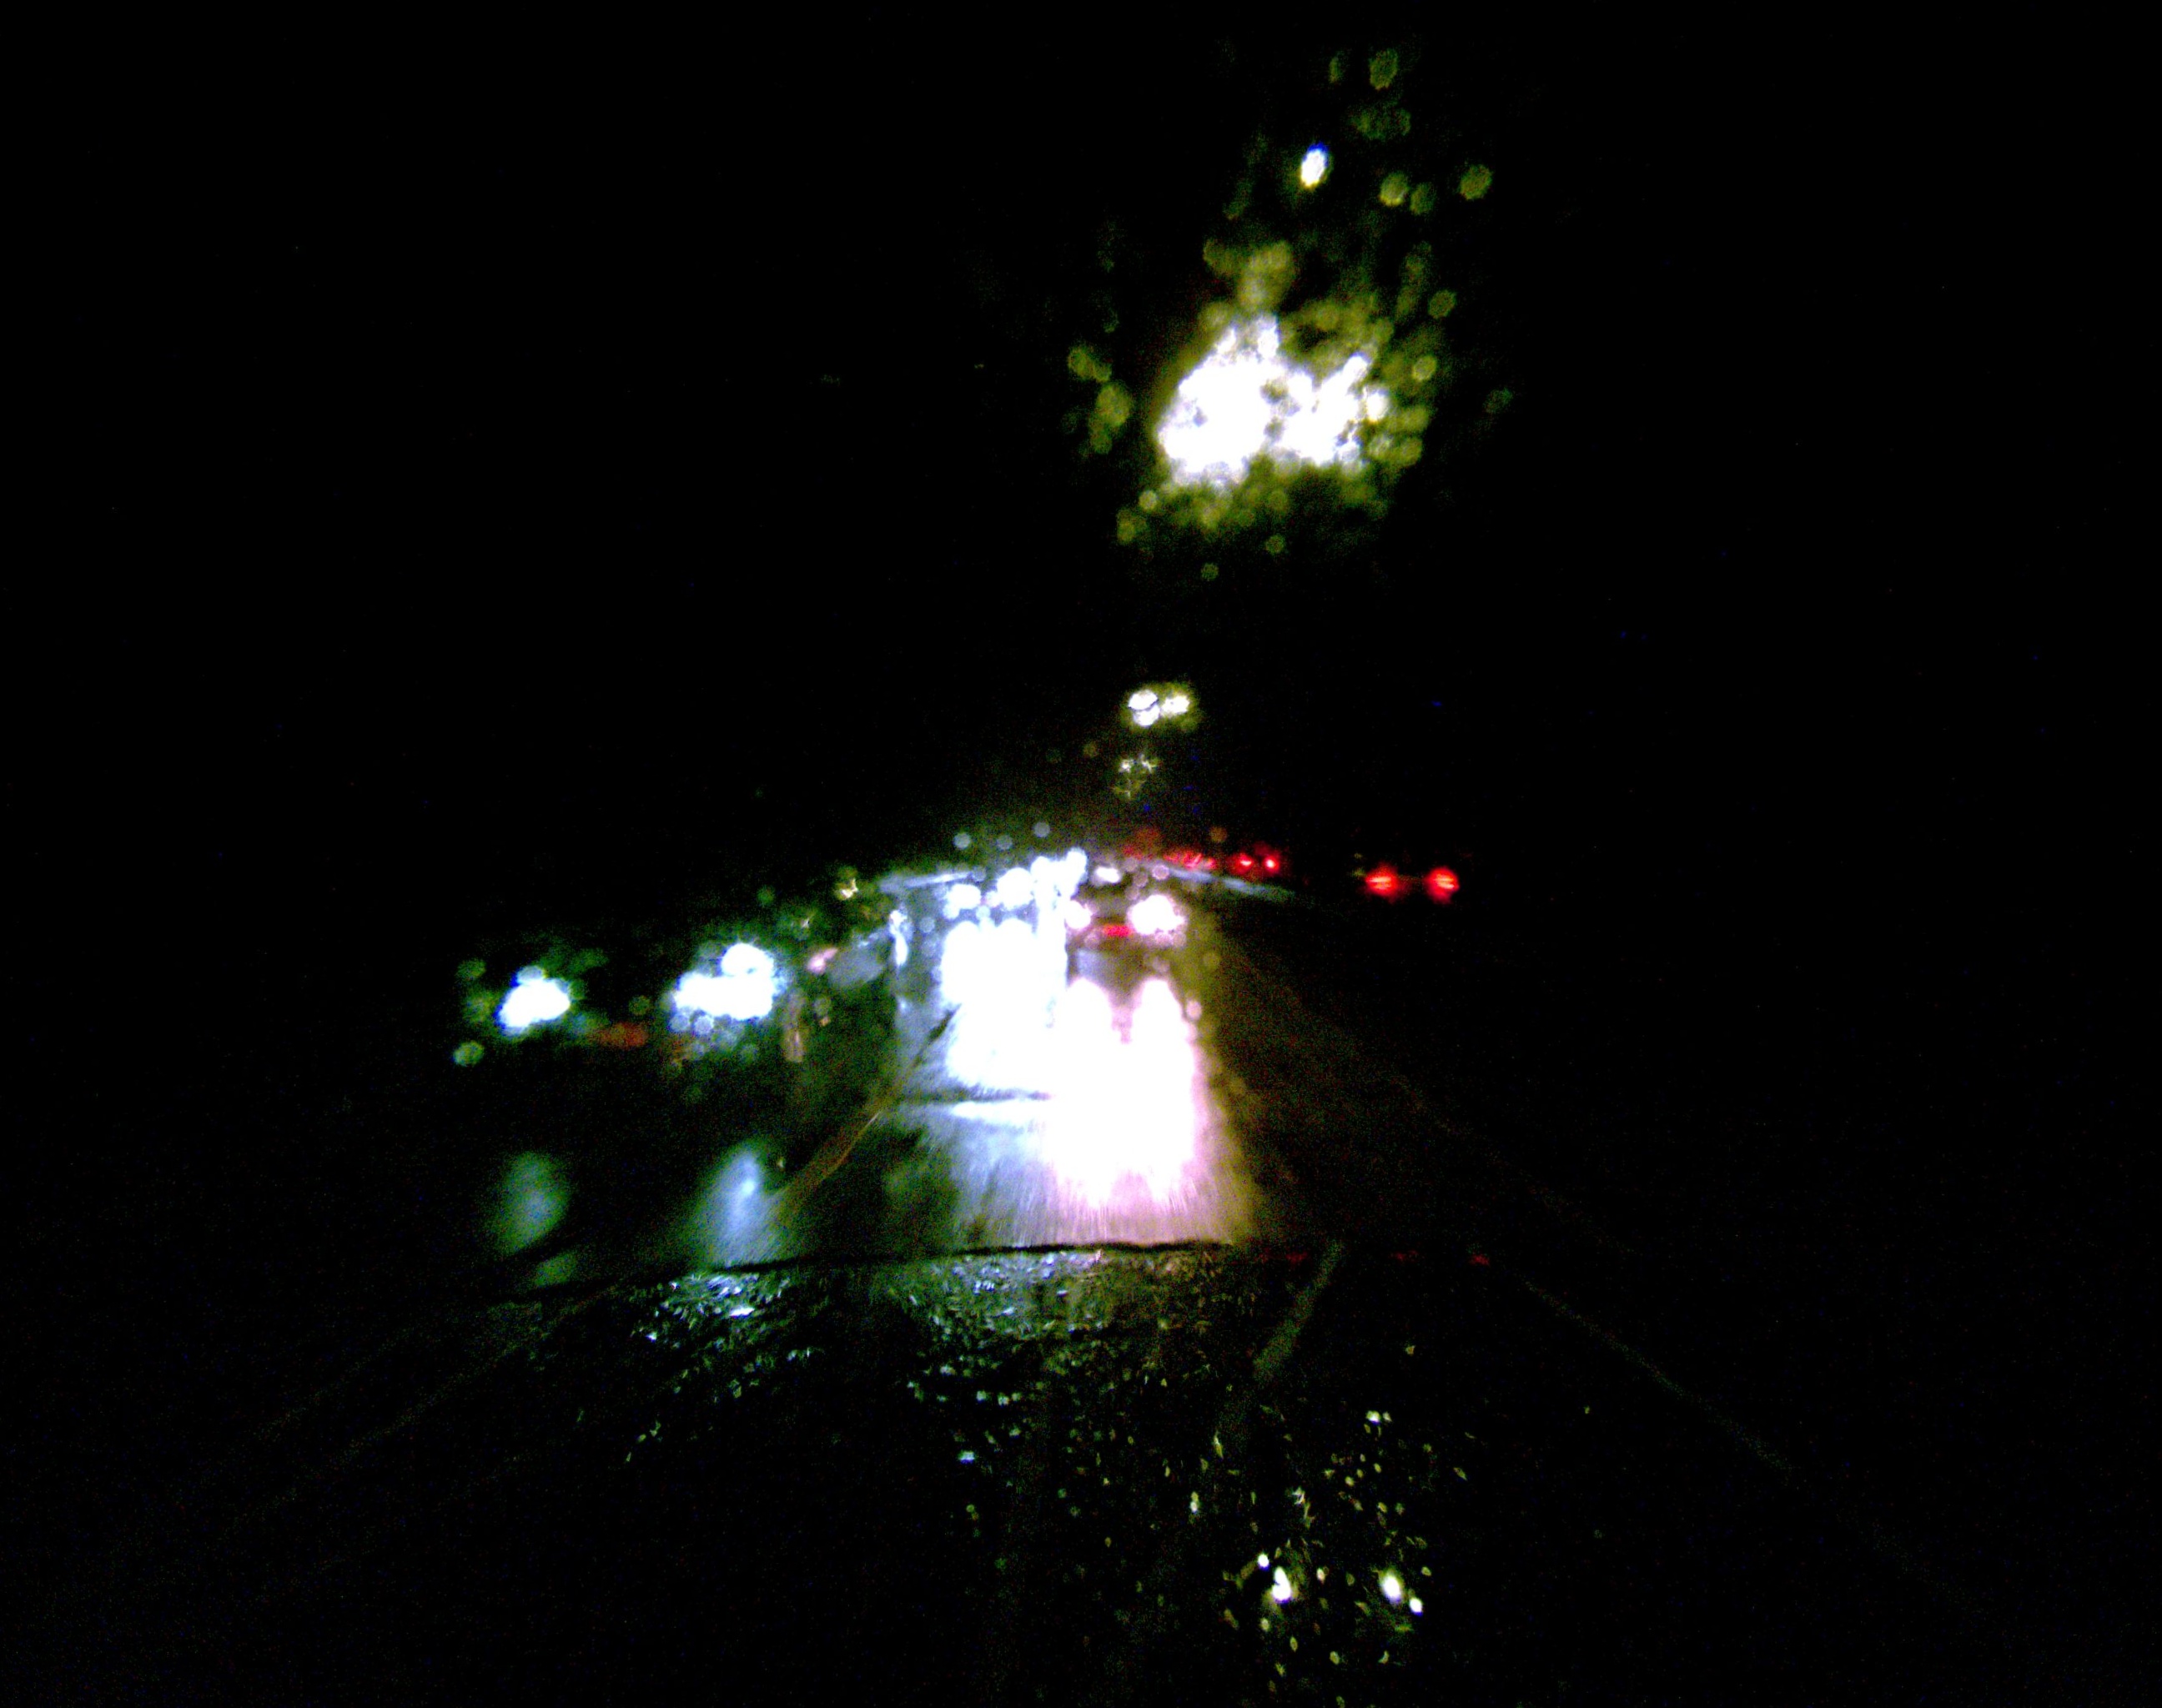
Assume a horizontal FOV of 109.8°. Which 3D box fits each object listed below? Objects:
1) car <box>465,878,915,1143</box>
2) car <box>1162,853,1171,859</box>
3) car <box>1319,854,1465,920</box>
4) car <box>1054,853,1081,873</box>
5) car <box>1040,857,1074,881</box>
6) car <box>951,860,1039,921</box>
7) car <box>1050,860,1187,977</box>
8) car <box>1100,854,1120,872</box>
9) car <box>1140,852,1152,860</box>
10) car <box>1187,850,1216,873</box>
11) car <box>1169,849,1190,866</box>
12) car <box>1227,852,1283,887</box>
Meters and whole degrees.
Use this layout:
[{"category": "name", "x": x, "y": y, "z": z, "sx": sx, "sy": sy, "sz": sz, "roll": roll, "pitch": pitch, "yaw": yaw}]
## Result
[{"category": "car", "x": -3.006, "y": 1.074, "z": 7.208, "sx": 1.736, "sy": 1.440, "sz": 4.724, "roll": -3, "pitch": 0, "yaw": 0}, {"category": "car", "x": 18.565, "y": 0.369, "z": 165.189, "sx": 1.614, "sy": 1.373, "sz": 4.164, "roll": 0, "pitch": 0, "yaw": 2}, {"category": "car", "x": 7.506, "y": 0.719, "z": 18.856, "sx": 1.821, "sy": 1.386, "sz": 4.461, "roll": 2, "pitch": 0, "yaw": 1}, {"category": "car", "x": -1.079, "y": 0.738, "z": 63.151, "sx": 1.998, "sy": 1.531, "sz": 4.000, "roll": -2, "pitch": 0, "yaw": 2}, {"category": "car", "x": -1.587, "y": 1.016, "z": 52.052, "sx": 1.998, "sy": 1.455, "sz": 4.000, "roll": -2, "pitch": 0, "yaw": 2}, {"category": "car", "x": -2.398, "y": 0.974, "z": 22.330, "sx": 1.826, "sy": 1.476, "sz": 4.568, "roll": -2, "pitch": 0, "yaw": 2}, {"category": "car", "x": 0.575, "y": 0.887, "z": 12.211, "sx": 1.764, "sy": 1.492, "sz": 4.001, "roll": -3, "pitch": -1, "yaw": 2}, {"category": "car", "x": 3.180, "y": 0.986, "z": 84.222, "sx": 1.999, "sy": 1.774, "sz": 3.999, "roll": -3, "pitch": 1, "yaw": 0}, {"category": "car", "x": 12.491, "y": 0.436, "z": 146.286, "sx": 1.860, "sy": 1.467, "sz": 4.779, "roll": -2, "pitch": 0, "yaw": 1}, {"category": "car", "x": 8.678, "y": 0.503, "z": 55.009, "sx": 1.571, "sy": 1.533, "sz": 4.162, "roll": 1, "pitch": 1, "yaw": 2}, {"category": "car", "x": 9.789, "y": 0.349, "z": 75.897, "sx": 1.624, "sy": 1.641, "sz": 4.000, "roll": -1, "pitch": 1, "yaw": 1}, {"category": "car", "x": 8.425, "y": 0.711, "z": 37.109, "sx": 1.813, "sy": 1.559, "sz": 4.000, "roll": 2, "pitch": 0, "yaw": 0}]
